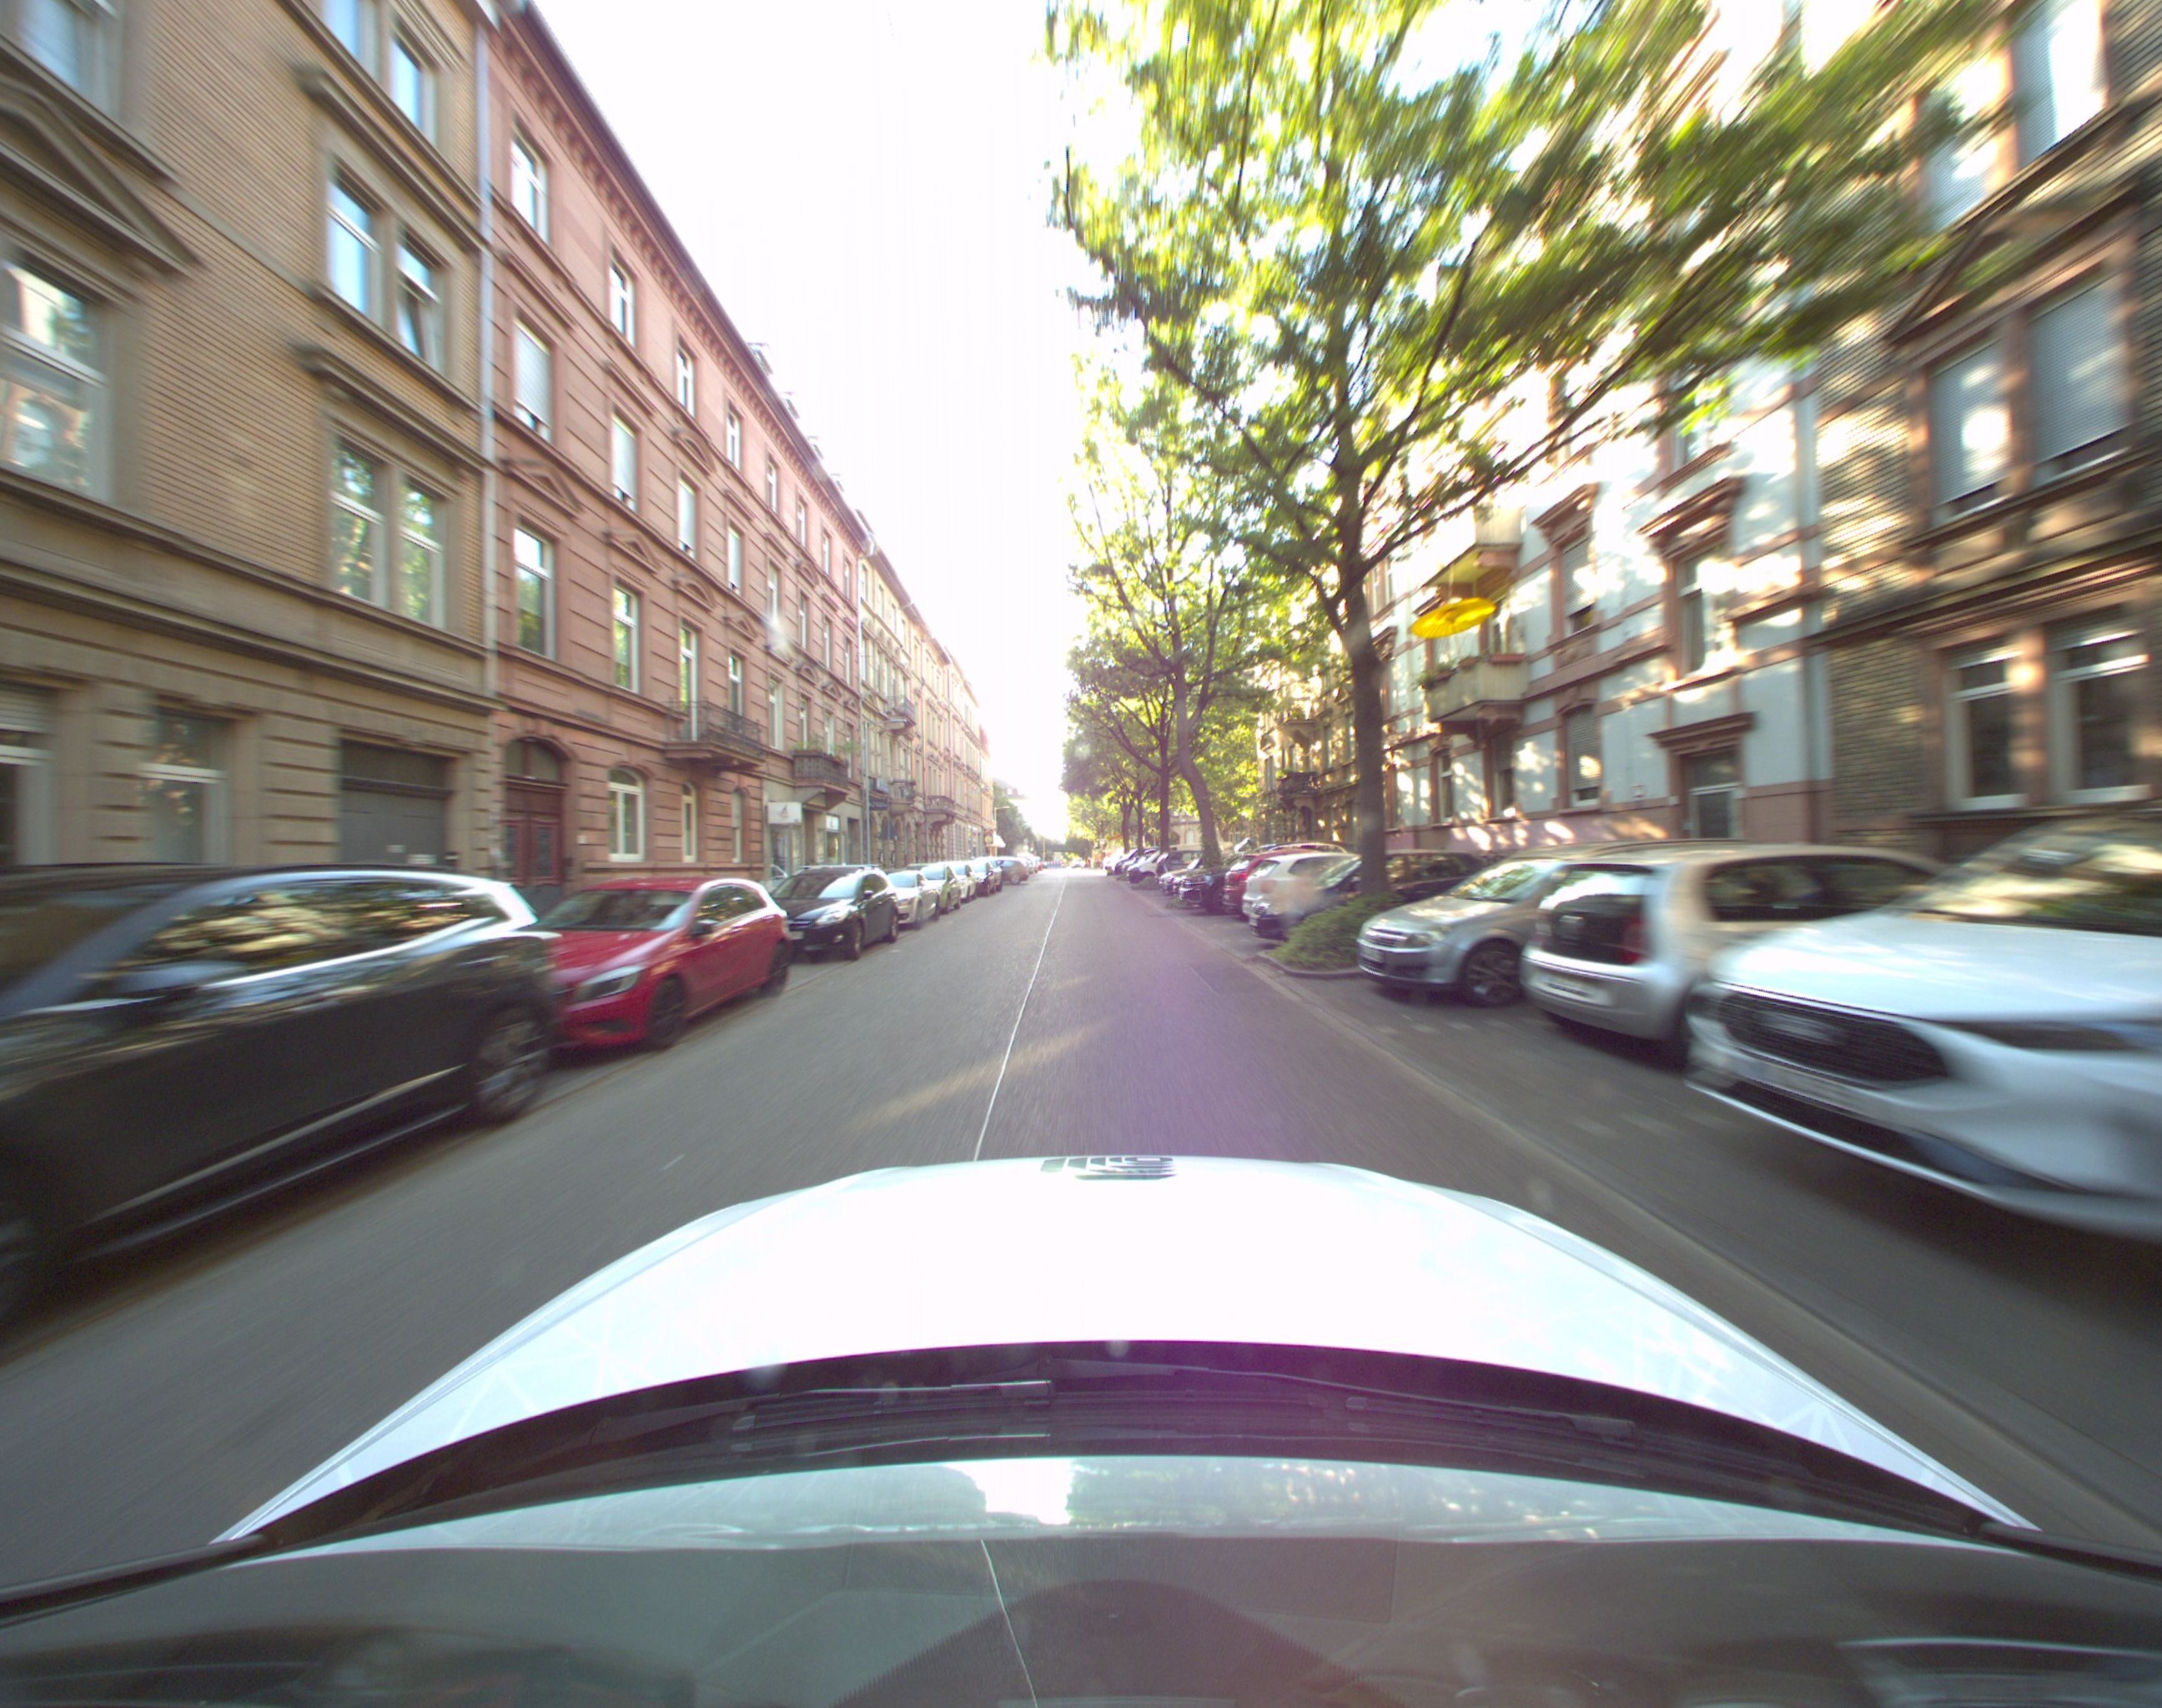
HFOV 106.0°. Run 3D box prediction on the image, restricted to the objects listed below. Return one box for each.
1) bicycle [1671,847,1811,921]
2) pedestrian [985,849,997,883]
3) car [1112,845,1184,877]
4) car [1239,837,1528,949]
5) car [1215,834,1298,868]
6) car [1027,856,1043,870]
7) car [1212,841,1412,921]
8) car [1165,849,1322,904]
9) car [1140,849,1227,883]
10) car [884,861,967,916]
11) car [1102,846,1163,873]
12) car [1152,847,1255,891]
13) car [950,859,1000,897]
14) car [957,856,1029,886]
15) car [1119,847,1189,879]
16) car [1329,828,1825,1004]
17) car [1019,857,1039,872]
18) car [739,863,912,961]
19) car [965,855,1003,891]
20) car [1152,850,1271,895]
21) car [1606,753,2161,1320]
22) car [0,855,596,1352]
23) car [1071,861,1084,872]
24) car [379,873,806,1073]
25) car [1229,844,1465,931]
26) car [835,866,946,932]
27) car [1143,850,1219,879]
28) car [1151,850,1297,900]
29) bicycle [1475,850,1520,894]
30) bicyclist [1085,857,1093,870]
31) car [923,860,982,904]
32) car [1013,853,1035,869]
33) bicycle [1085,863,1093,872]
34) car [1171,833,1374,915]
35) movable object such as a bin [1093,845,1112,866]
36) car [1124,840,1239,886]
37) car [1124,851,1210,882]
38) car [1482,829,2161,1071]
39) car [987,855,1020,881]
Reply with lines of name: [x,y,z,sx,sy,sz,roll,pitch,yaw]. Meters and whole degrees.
bicycle: [10.102,0.429,12.565,0.403,1.046,1.944,-2,0,-6]
pedestrian: [-5.063,0.665,45.871,0.638,1.887,0.590,-2,0,-8]
car: [4.496,0.480,55.400,4.605,2.013,1.998,-2,0,-4]
car: [4.757,0.581,13.170,3.976,1.388,1.677,-4,0,-2]
car: [13.739,-0.217,63.874,5.888,2.537,2.374,-1,0,-7]
car: [-5.125,1.028,90.788,1.665,1.530,3.995,-1,-1,-3]
car: [5.160,0.576,18.485,3.979,1.590,1.780,-2,0,-4]
car: [5.024,0.673,25.699,4.537,1.529,2.000,-2,0,0]
car: [5.128,0.608,41.128,3.985,1.474,1.777,-3,0,-9]
car: [-4.562,0.956,24.473,1.700,1.439,3.958,-2,0,0]
car: [4.285,0.423,68.432,4.959,2.096,2.105,-2,0,-1]
car: [4.983,0.608,33.480,3.879,1.649,1.721,-2,0,-6]
car: [-4.476,0.970,34.837,1.643,1.473,3.998,1,0,-1]
car: [-5.068,0.963,46.866,3.983,1.529,1.822,-2,0,-7]
car: [4.731,0.579,53.217,4.260,1.885,1.936,-2,0,-5]
car: [5.007,0.569,8.597,4.214,1.536,1.799,-1,0,-4]
car: [-5.112,1.037,80.457,1.720,1.437,3.995,1,0,0]
car: [-4.440,0.926,14.922,1.815,1.477,4.422,0,0,-1]
car: [-4.639,0.882,39.534,1.645,1.574,4.042,1,0,-5]
car: [4.853,0.671,30.638,4.099,1.503,1.808,-2,0,-6]
car: [5.057,0.509,3.446,4.464,1.656,1.890,-1,-2,-2]
car: [-4.411,0.810,3.727,1.815,1.600,4.312,0,0,-1]
car: [-0.516,1.795,115.576,1.744,1.509,3.998,-2,0,-1]
car: [-4.448,0.955,8.376,1.815,1.425,4.312,0,0,-1]
car: [5.082,0.611,15.888,3.979,1.462,1.780,-2,0,-4]
car: [-4.485,1.014,19.796,1.700,1.323,4.100,-2,0,0]
car: [5.698,0.574,46.682,4.068,1.497,1.843,-2,0,-1]
car: [4.885,0.698,28.241,4.650,1.503,1.929,-2,0,-4]
bicycle: [10.412,0.439,20.397,0.323,1.050,1.705,-2,0,3]
bicyclist: [0.835,1.037,88.051,0.801,1.383,0.985,0,-1,-2]
car: [-4.755,0.980,30.508,1.577,1.473,3.998,-2,0,-1]
car: [-5.236,0.612,75.239,1.760,1.437,4.297,-1,0,-2]
bicycle: [0.840,1.470,88.018,0.801,0.968,2.107,0,0,-1]
car: [4.786,0.478,20.782,4.636,1.702,1.879,-3,0,-5]
movable object such as a bin: [2.907,0.255,108.587,1.980,2.699,3.121,-1,-1,12]
car: [4.640,0.442,38.139,5.076,1.940,2.157,-2,-4,-1]
car: [4.545,0.653,43.462,4.356,1.455,1.933,-2,0,-1]
car: [5.506,0.606,6.138,4.087,1.469,1.801,-1,0,0]
car: [-5.048,0.904,53.379,1.736,1.567,3.894,-2,0,0]
